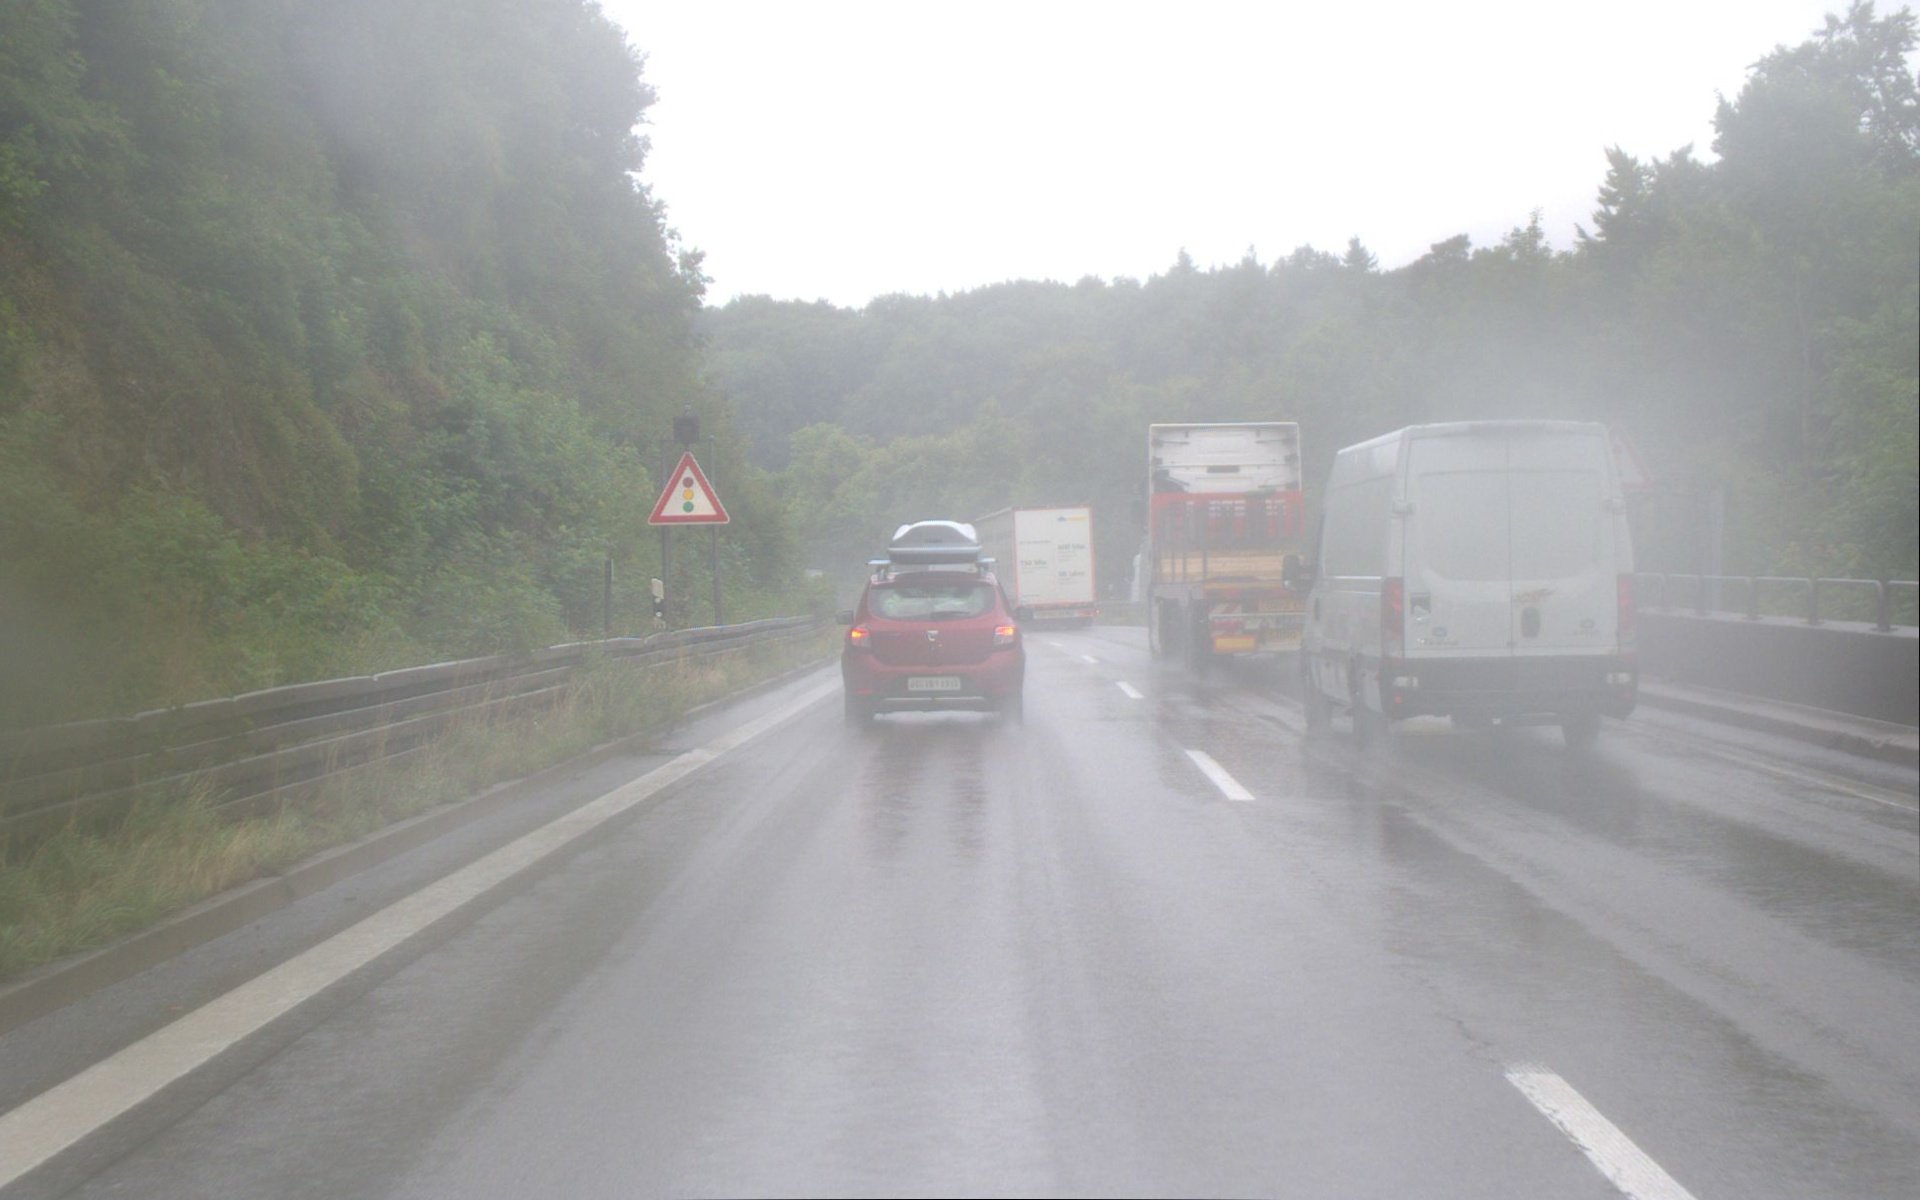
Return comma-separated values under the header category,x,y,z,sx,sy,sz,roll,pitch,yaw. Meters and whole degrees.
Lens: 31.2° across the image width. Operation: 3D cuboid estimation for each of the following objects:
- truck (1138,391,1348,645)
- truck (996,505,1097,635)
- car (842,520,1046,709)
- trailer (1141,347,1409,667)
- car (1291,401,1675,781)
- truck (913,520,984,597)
category,x,y,z,sx,sy,sz,roll,pitch,yaw
truck,4.554,-1.303,56.376,3.220,3.964,5.438,0,1,3
truck,2.833,-1.009,115.433,2.687,4.080,9.316,-2,0,-2
car,-0.103,0.115,33.777,1.758,1.679,4.000,-2,0,2
trailer,4.287,-1.231,49.659,3.218,3.985,13.523,0,1,3
car,4.248,-0.109,29.290,2.206,2.784,7.382,1,1,1
truck,-0.547,-1.857,152.364,3.062,3.300,8.071,0,1,-1
